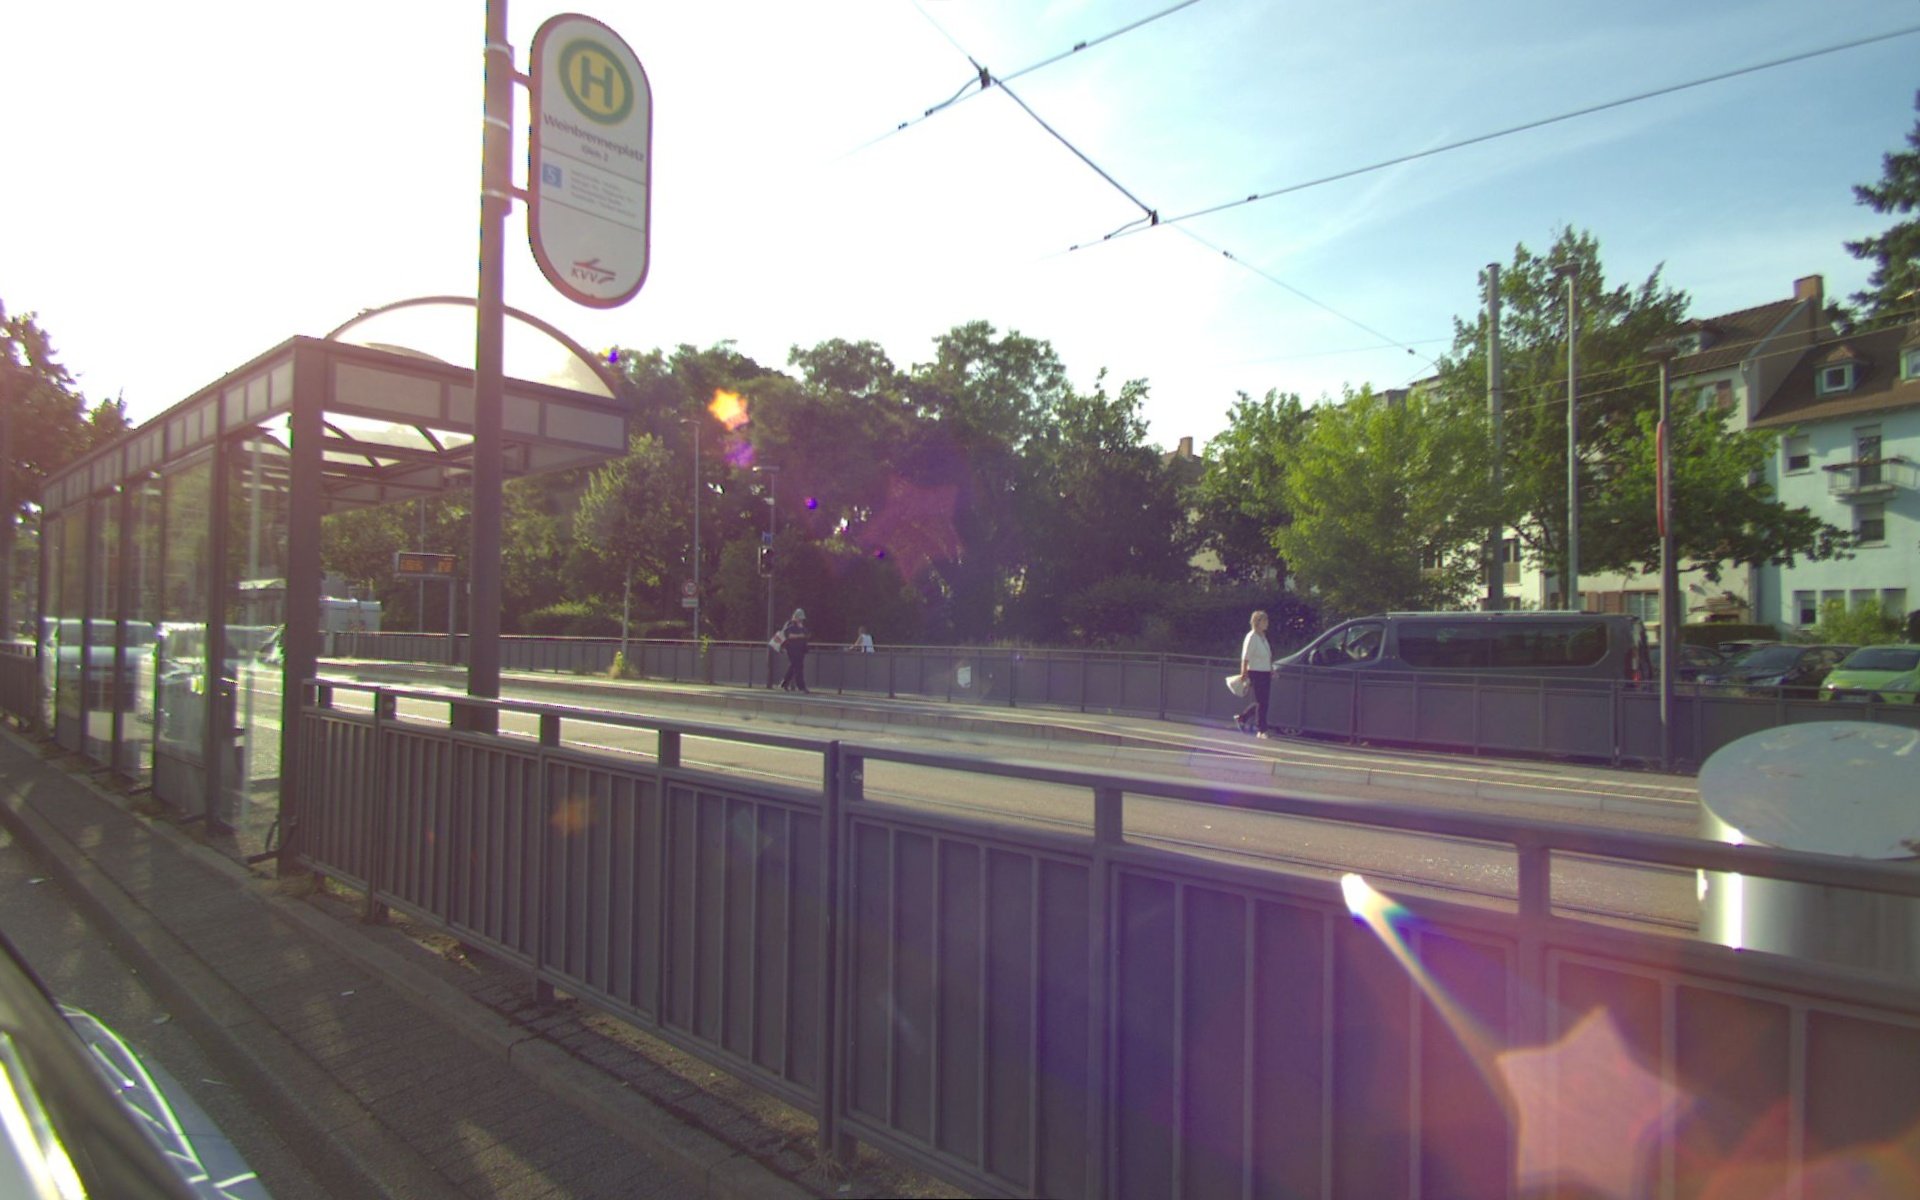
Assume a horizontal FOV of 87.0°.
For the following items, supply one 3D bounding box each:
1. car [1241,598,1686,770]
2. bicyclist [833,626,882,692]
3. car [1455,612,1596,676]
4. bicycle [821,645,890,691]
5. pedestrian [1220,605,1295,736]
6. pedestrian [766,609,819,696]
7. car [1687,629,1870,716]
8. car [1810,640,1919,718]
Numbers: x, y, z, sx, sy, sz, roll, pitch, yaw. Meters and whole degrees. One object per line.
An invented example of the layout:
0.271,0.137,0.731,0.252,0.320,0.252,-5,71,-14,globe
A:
7.017,1.062,14.552,5.385,2.029,2.123,-1,-3,42,car
-2.680,1.522,26.371,1.071,1.636,0.697,-2,0,42,bicyclist
16.652,1.295,29.788,3.931,1.767,1.860,2,-2,-30,car
-2.749,1.762,26.451,1.864,1.118,0.718,-2,0,42,bicycle
3.874,0.899,13.172,0.727,1.640,0.699,-1,-3,41,pedestrian
-3.240,1.005,19.609,0.689,1.640,0.727,-1,-3,41,pedestrian
18.107,1.548,22.369,3.931,1.767,1.860,2,-2,-30,car
19.407,1.572,20.666,3.931,1.439,1.778,2,-2,-28,car
